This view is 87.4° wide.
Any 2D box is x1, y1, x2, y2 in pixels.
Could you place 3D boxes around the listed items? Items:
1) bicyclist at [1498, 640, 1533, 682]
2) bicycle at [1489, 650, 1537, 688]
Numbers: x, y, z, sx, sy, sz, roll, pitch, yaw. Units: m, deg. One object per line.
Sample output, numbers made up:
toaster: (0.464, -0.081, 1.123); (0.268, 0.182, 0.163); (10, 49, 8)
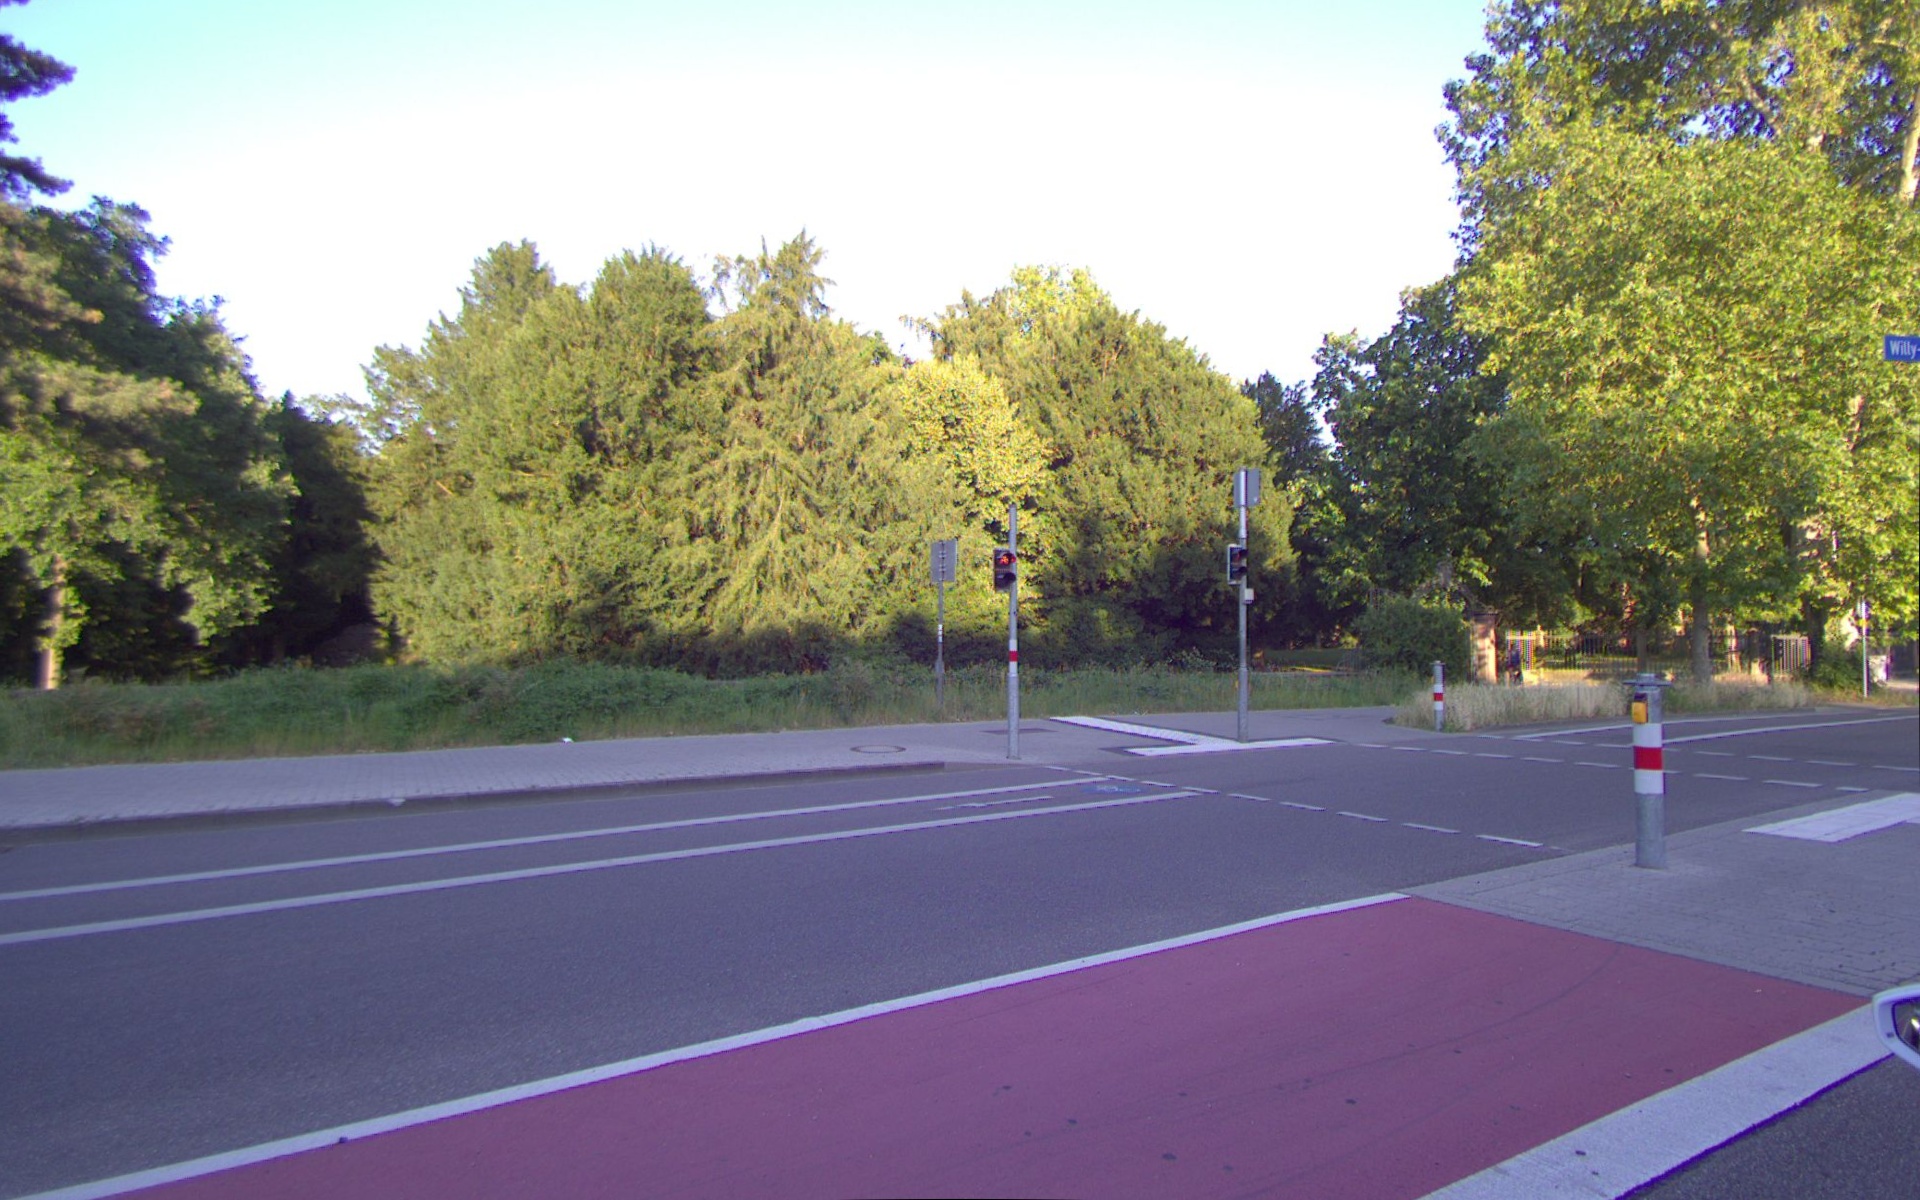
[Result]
bicyclist: (19.330, 2.105, 34.975); (0.775, 1.445, 0.893); (0, -2, 7)
bicycle: (19.336, 2.388, 35.175); (0.775, 1.273, 1.981); (0, -2, 7)
